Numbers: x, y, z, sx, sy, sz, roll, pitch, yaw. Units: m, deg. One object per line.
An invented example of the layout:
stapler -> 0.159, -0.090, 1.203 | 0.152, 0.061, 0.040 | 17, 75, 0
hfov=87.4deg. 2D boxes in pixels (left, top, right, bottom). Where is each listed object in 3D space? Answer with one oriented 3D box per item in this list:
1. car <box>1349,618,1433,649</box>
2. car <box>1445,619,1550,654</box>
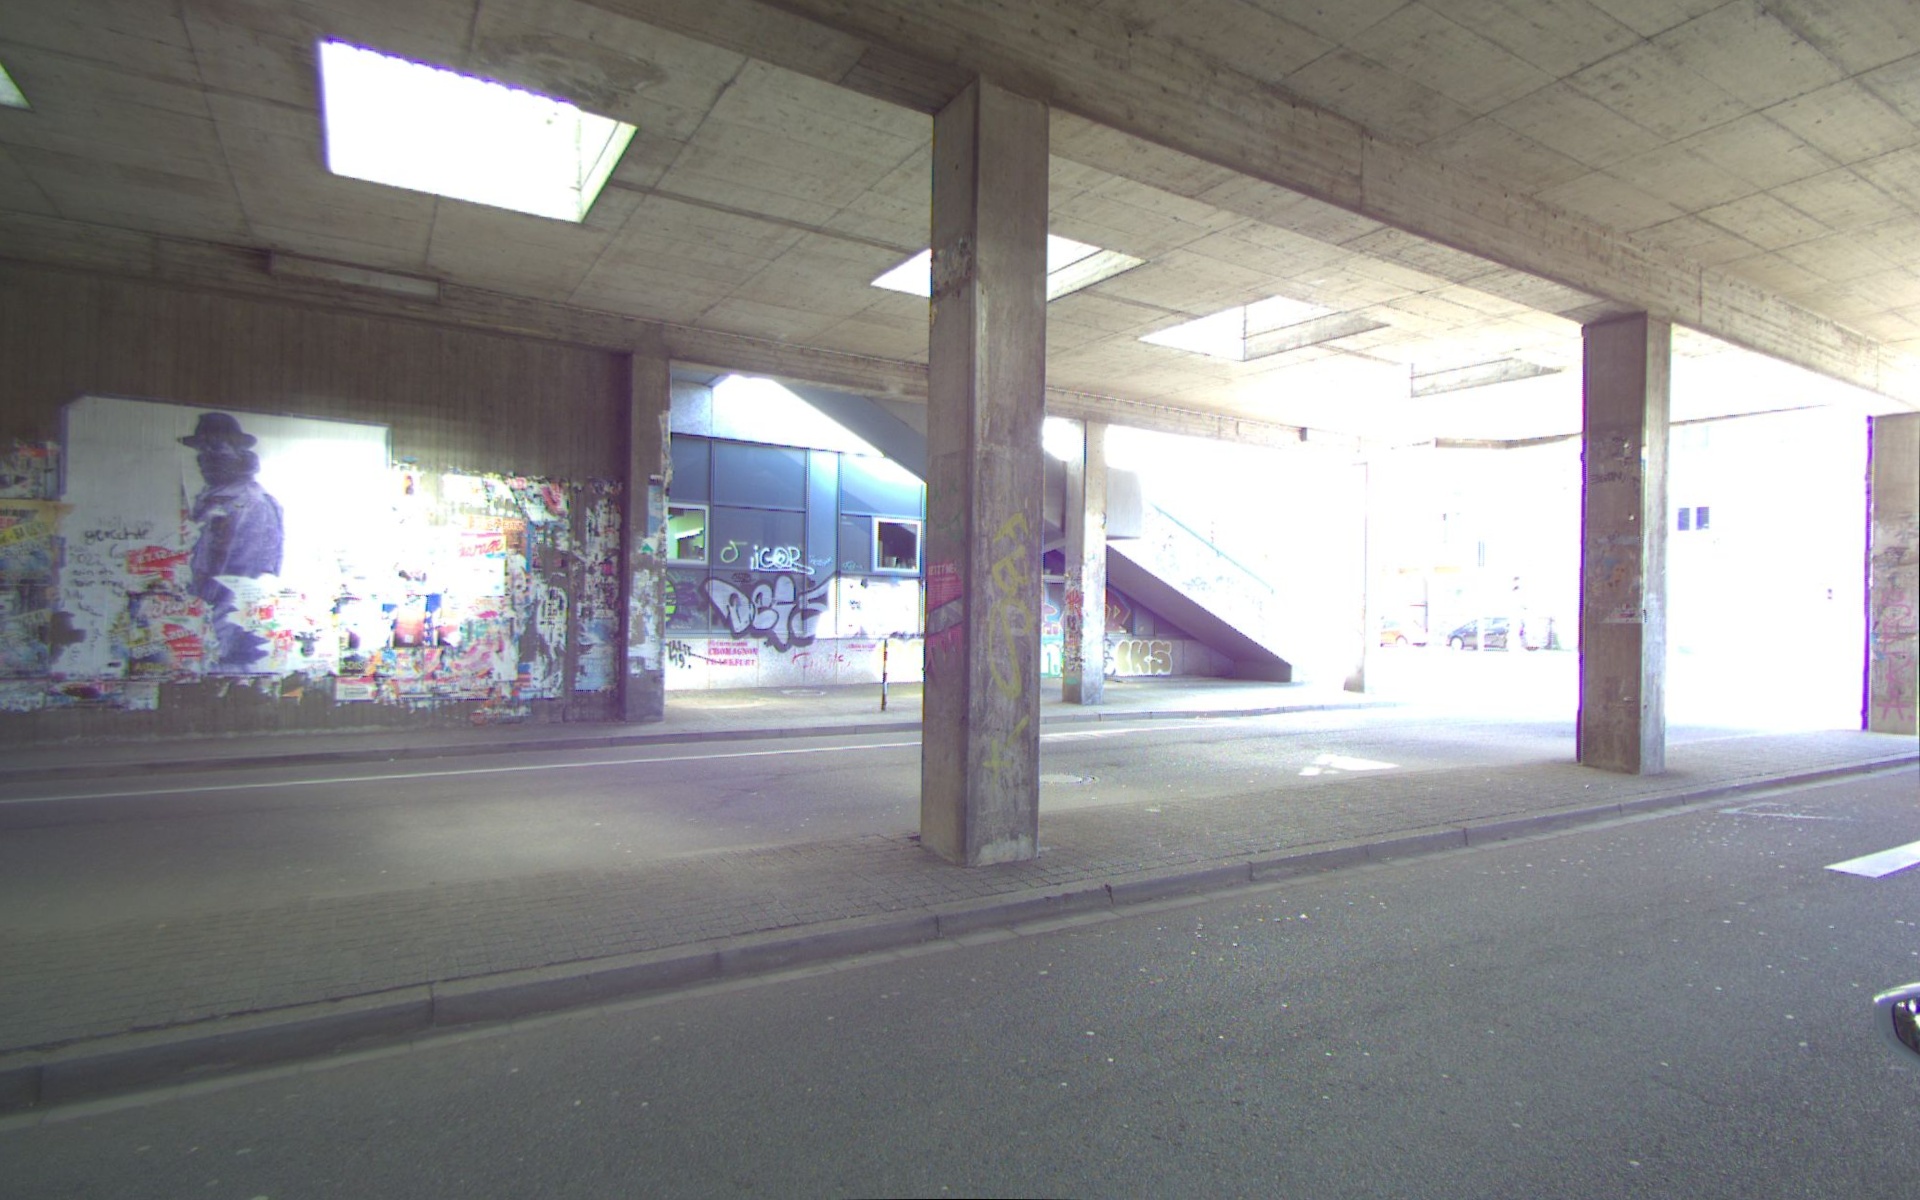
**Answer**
car -> 22.524, 1.740, 52.591 | 1.730, 1.495, 3.741 | 2, -1, -31
car -> 25.437, 1.715, 47.636 | 1.718, 1.495, 4.089 | 2, -1, -31
